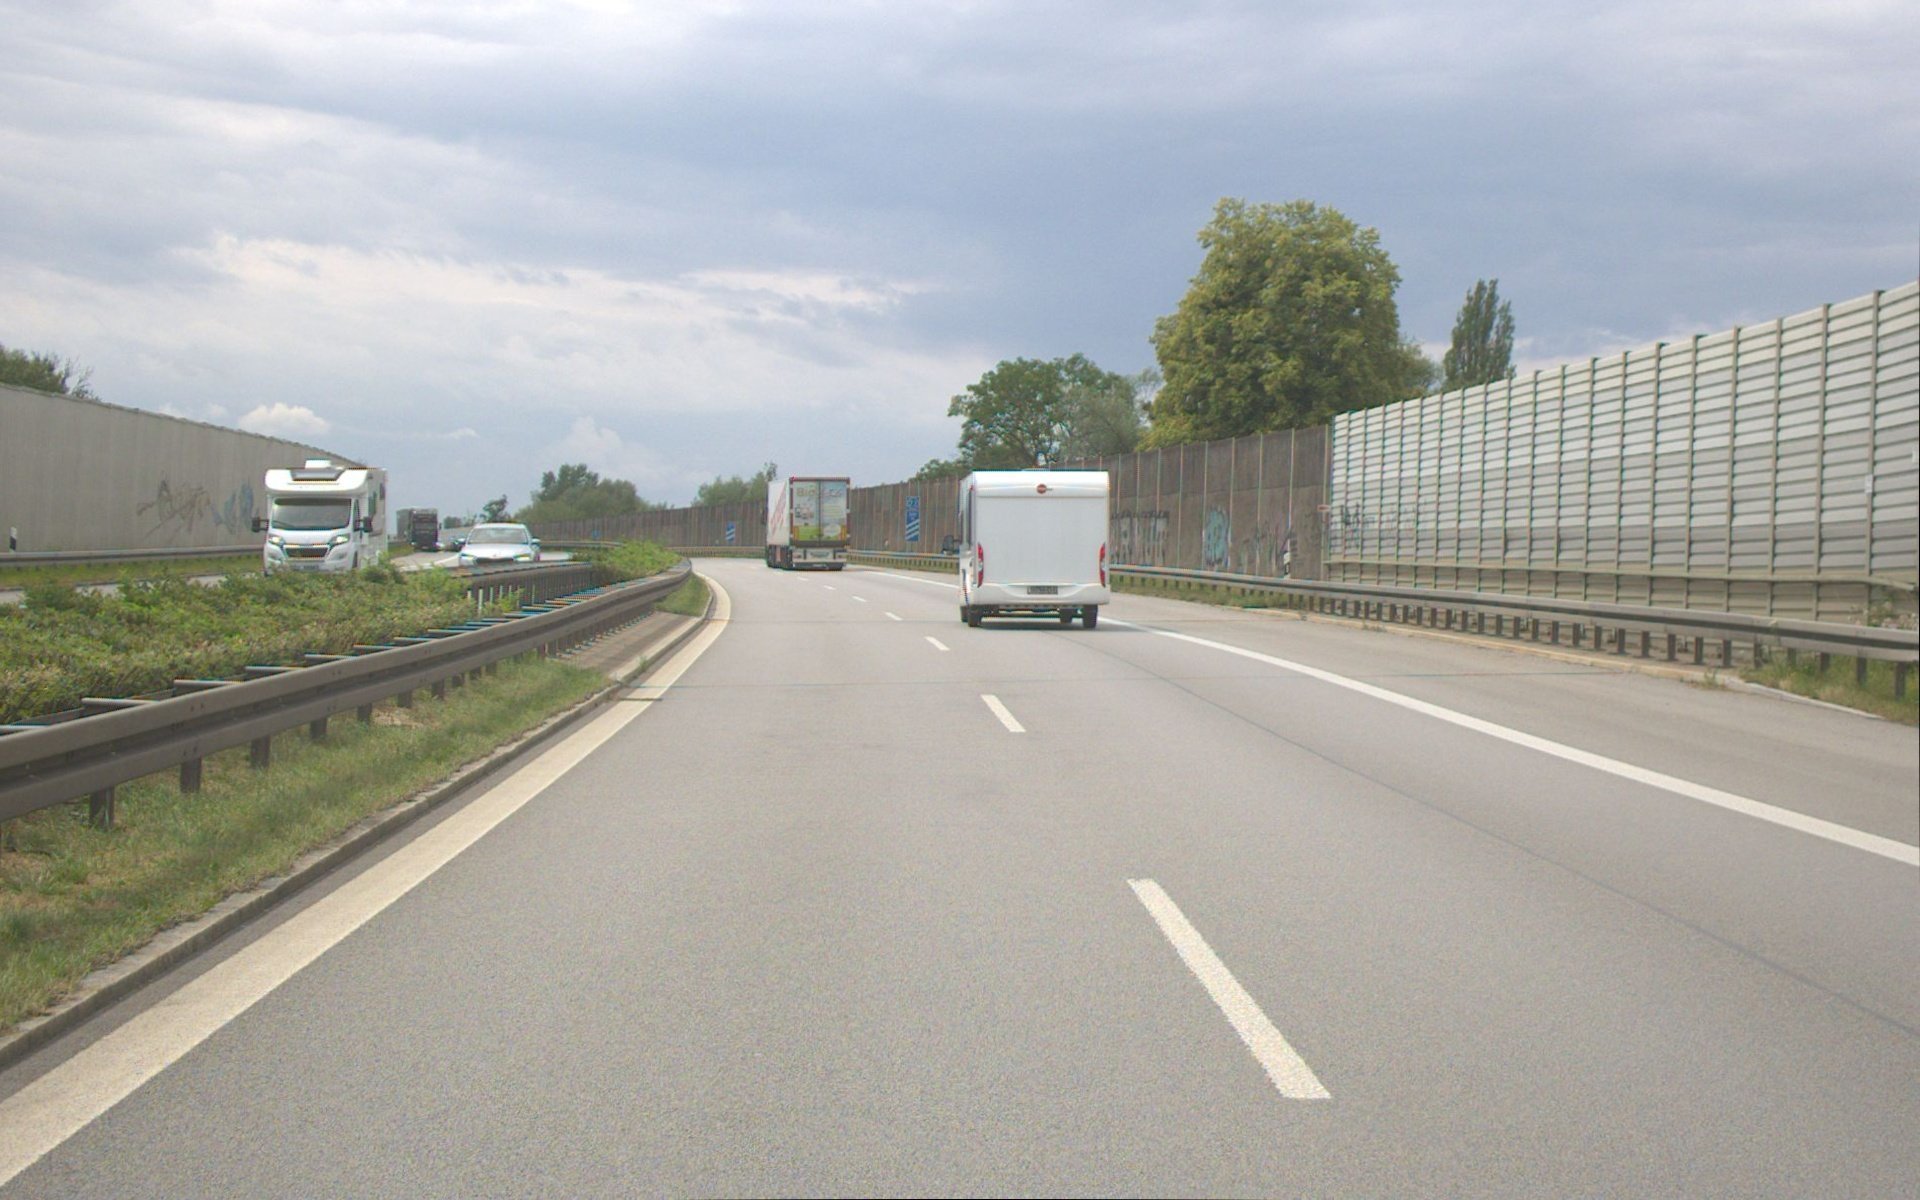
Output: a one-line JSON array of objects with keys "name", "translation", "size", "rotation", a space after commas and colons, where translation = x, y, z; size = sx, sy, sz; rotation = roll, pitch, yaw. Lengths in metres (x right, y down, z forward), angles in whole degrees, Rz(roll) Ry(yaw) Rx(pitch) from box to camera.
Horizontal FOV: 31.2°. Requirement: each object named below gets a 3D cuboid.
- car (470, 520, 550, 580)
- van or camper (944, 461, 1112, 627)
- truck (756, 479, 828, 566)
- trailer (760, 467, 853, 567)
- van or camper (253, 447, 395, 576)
[{"name": "car", "translation": [-10.873, -1.221, 83.284], "size": [1.692, 1.415, 4.648], "rotation": [0, 1, -4]}, {"name": "van or camper", "translation": [1.106, -0.984, 60.253], "size": [2.429, 2.687, 7.226], "rotation": [1, 1, -3]}, {"name": "truck", "translation": [-7.841, -3.567, 159.852], "size": [2.755, 3.946, 5.678], "rotation": [0, 0, -9]}, {"name": "trailer", "translation": [-6.943, -3.584, 153.125], "size": [2.792, 4.160, 14.106], "rotation": [0, 0, -8]}, {"name": "van or camper", "translation": [-14.899, -2.062, 80.938], "size": [2.466, 2.860, 7.770], "rotation": [1, 1, -4]}]
